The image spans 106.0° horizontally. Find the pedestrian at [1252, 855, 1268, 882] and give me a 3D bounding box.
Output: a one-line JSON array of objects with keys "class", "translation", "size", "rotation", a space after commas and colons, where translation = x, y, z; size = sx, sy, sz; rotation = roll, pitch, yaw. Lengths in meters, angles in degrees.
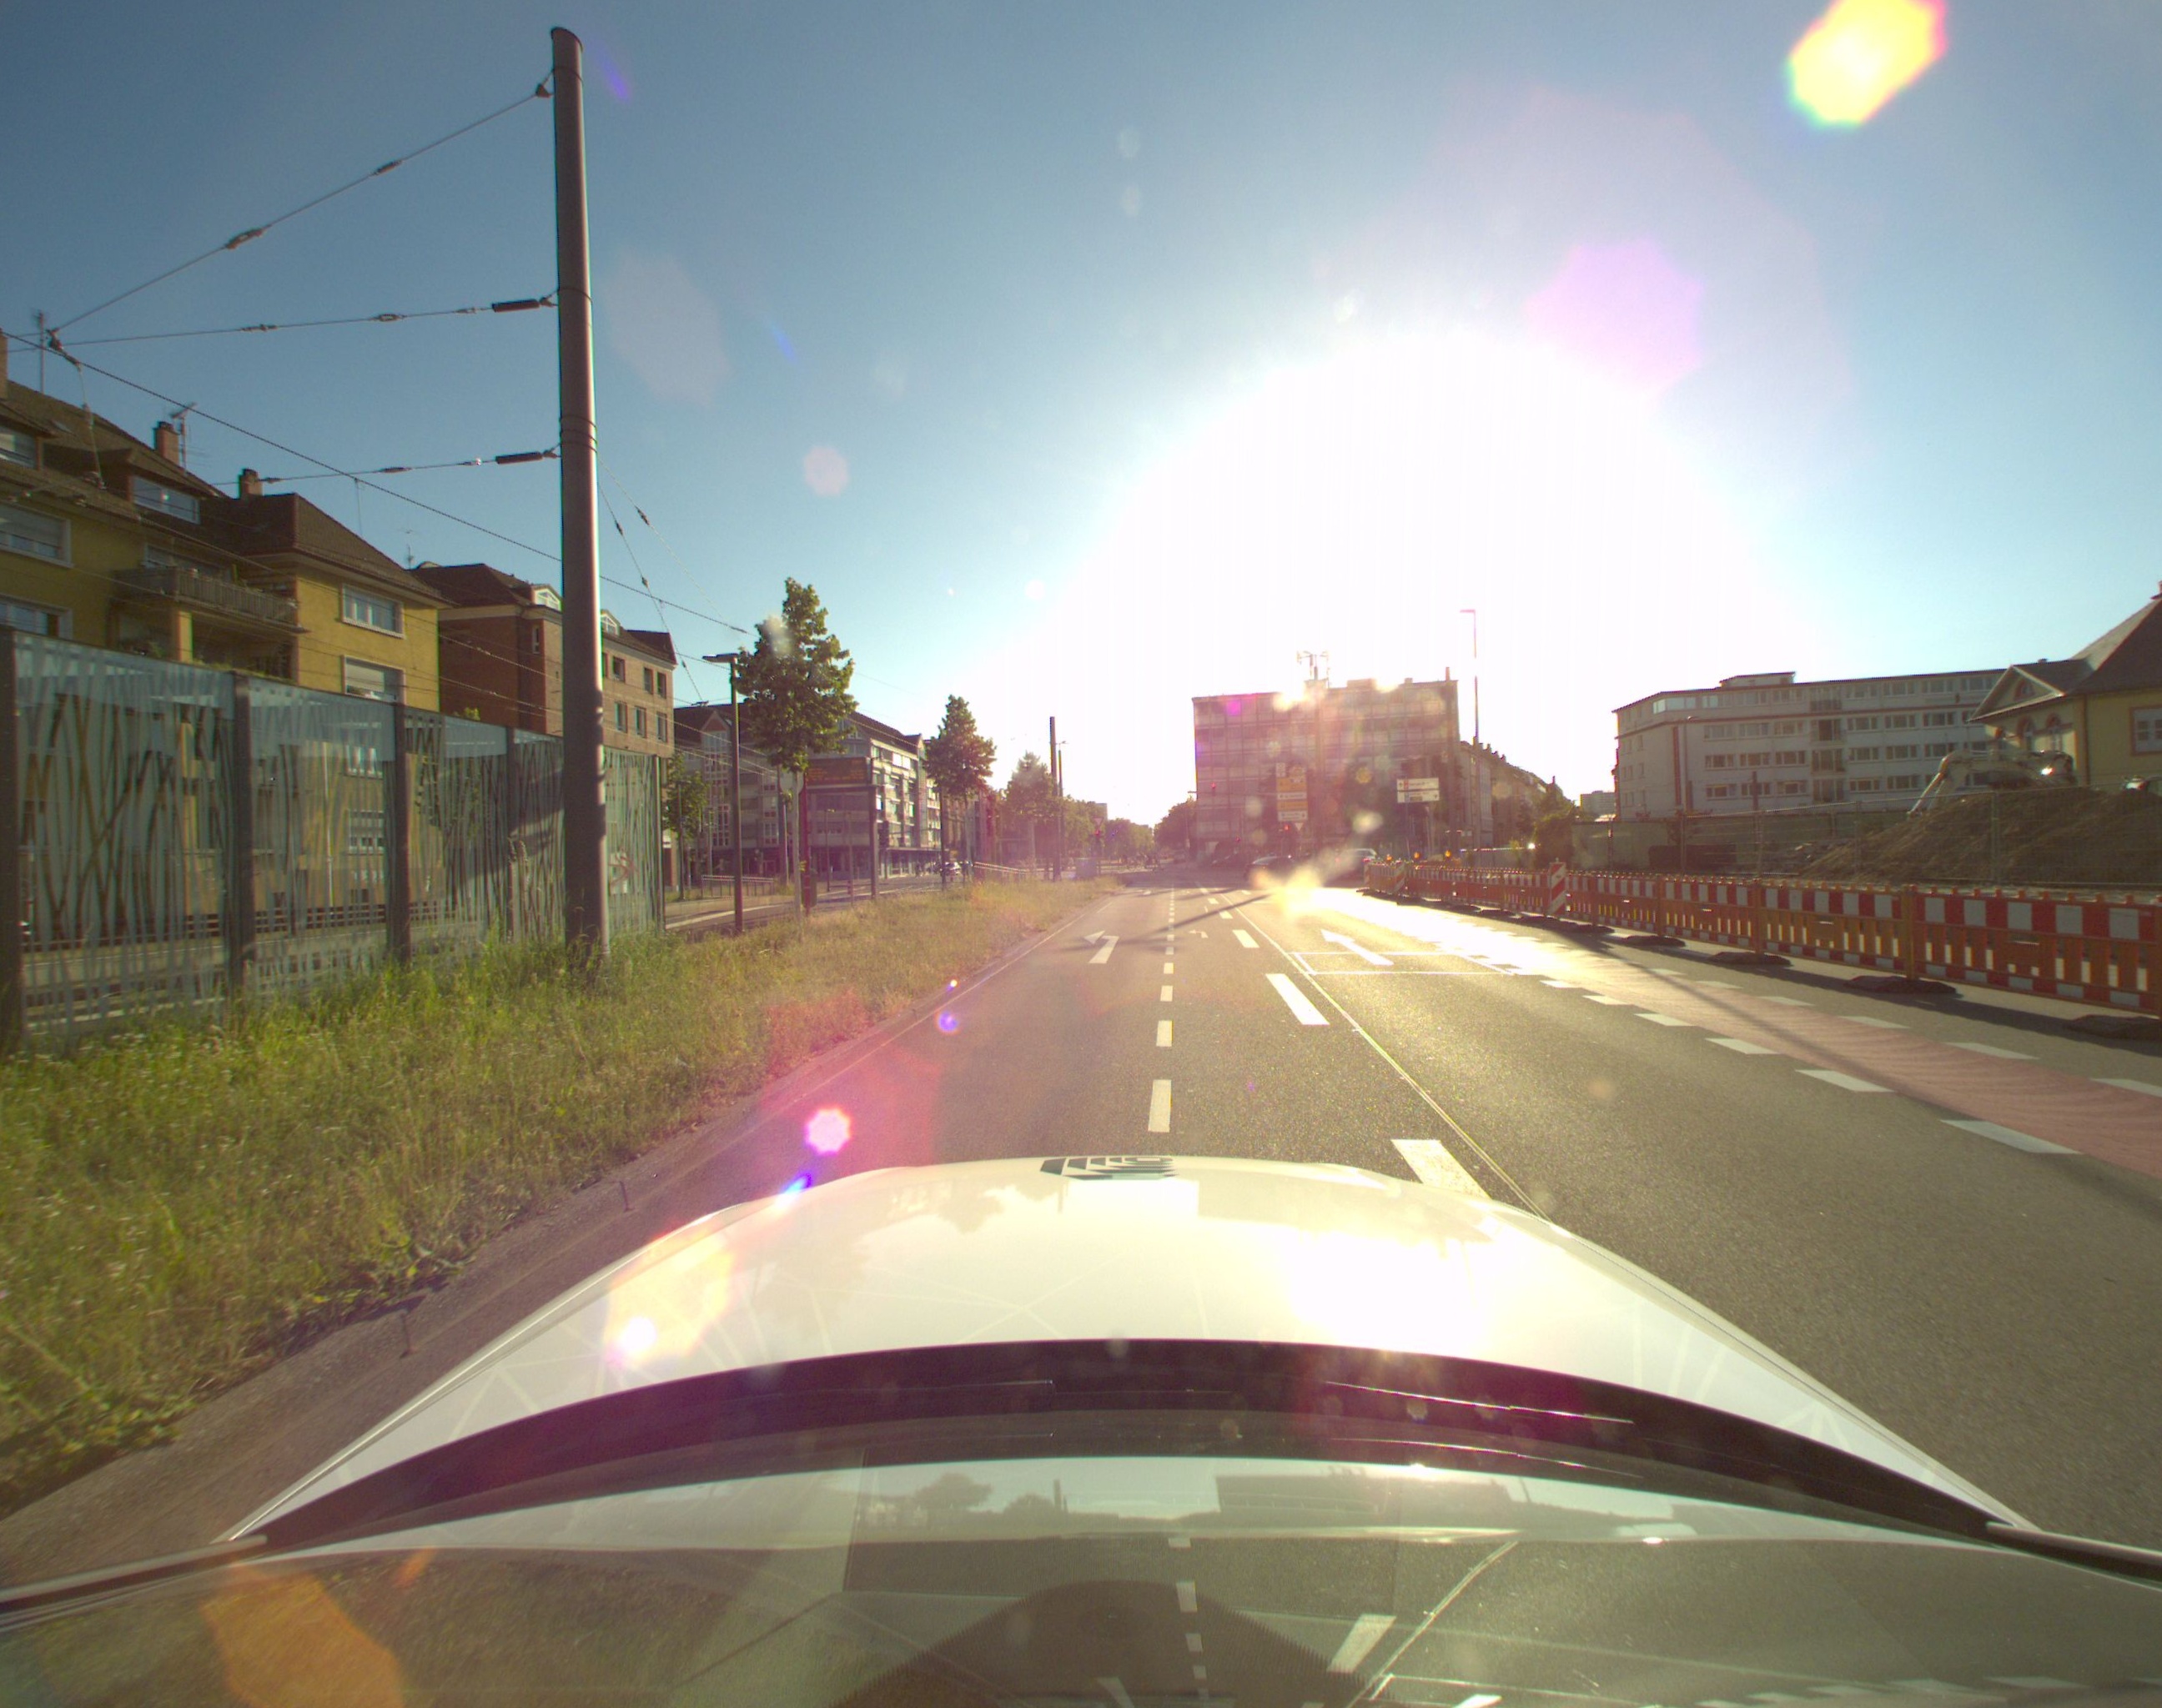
[{"class": "pedestrian", "translation": [10.964, 0.866, 49.933], "size": [0.874, 1.597, 0.656], "rotation": [-2, -1, 6]}]

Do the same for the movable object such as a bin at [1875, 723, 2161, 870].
[{"class": "movable object such as a bin", "translation": [26.318, -1.439, 22.284], "size": [6.002, 3.557, 2.880], "rotation": [-2, 0, 31]}]

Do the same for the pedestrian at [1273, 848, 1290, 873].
[{"class": "pedestrian", "translation": [13.106, 0.403, 53.263], "size": [0.874, 1.597, 0.656], "rotation": [-2, -1, 4]}]

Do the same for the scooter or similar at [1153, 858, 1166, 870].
[{"class": "scooter or similar", "translation": [7.660, 0.992, 79.899], "size": [1.169, 1.072, 0.529], "rotation": [-2, -1, -4]}]

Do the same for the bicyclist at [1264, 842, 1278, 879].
[{"class": "bicyclist", "translation": [10.541, 0.372, 45.173], "size": [0.640, 2.013, 1.069], "rotation": [0, 1, 7]}]

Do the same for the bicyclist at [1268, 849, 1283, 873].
[{"class": "bicyclist", "translation": [13.722, 0.486, 57.370], "size": [0.953, 1.661, 0.693], "rotation": [-2, -1, 9]}]

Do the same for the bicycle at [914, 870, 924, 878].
[{"class": "bicycle", "translation": [-19.688, 2.419, 99.260], "size": [0.595, 0.915, 1.840], "rotation": [-2, 0, 8]}]

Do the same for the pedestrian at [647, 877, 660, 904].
[{"class": "pedestrian", "translation": [-28.730, 2.465, 54.751], "size": [0.495, 1.807, 0.546], "rotation": [-3, -1, 34]}]

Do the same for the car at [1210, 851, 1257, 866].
[{"class": "car", "translation": [14.672, 0.410, 78.522], "size": [3.989, 1.288, 1.840], "rotation": [-2, 0, -12]}]

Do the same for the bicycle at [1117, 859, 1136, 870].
[{"class": "bicycle", "translation": [4.557, 1.055, 81.680], "size": [1.772, 1.072, 0.534], "rotation": [-2, -1, -4]}]

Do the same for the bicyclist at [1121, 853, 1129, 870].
[{"class": "bicyclist", "translation": [4.424, 0.735, 81.669], "size": [0.662, 1.712, 0.538], "rotation": [-2, -1, -4]}]

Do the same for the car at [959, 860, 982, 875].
[{"class": "car", "translation": [-15.033, 1.798, 111.132], "size": [1.982, 1.860, 4.010], "rotation": [-2, 0, 9]}]

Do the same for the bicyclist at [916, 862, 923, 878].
[{"class": "bicyclist", "translation": [-19.711, 1.926, 99.376], "size": [0.589, 1.862, 0.643], "rotation": [-2, -1, 8]}]

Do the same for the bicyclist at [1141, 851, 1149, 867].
[{"class": "bicyclist", "translation": [6.796, 0.543, 86.496], "size": [0.662, 1.712, 0.538], "rotation": [-2, -1, -4]}]

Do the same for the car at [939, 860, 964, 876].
[{"class": "car", "translation": [-16.380, 1.768, 103.228], "size": [1.982, 1.860, 4.010], "rotation": [-2, 0, 9]}]

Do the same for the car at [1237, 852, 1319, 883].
[{"class": "car", "translation": [10.079, 0.665, 41.568], "size": [4.015, 1.426, 1.731], "rotation": [-1, 0, -33]}]

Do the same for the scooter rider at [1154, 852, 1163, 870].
[{"class": "scooter rider", "translation": [7.602, 0.668, 79.897], "size": [0.662, 1.712, 0.526], "rotation": [-2, -1, -4]}]

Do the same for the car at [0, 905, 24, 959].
[{"class": "car", "translation": [-31.103, 2.215, 21.441], "size": [1.738, 1.486, 3.559], "rotation": [-2, 0, 6]}]

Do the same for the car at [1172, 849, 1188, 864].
[{"class": "car", "translation": [17.409, 0.475, 143.038], "size": [2.473, 2.392, 5.944], "rotation": [-4, -1, 6]}]

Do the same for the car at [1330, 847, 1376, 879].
[{"class": "car", "translation": [15.475, 0.472, 46.257], "size": [1.975, 1.693, 4.024], "rotation": [0, 1, 25]}]

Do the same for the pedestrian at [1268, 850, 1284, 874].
[{"class": "pedestrian", "translation": [12.931, 0.532, 54.026], "size": [0.874, 1.597, 0.656], "rotation": [-2, -1, 4]}]

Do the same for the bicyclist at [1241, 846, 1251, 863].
[{"class": "bicyclist", "translation": [17.409, 0.081, 85.952], "size": [0.895, 1.753, 0.655], "rotation": [-2, -1, 1]}]

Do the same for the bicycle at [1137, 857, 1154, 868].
[{"class": "bicycle", "translation": [6.880, 0.873, 86.497], "size": [1.728, 1.059, 0.539], "rotation": [-2, -1, -4]}]
